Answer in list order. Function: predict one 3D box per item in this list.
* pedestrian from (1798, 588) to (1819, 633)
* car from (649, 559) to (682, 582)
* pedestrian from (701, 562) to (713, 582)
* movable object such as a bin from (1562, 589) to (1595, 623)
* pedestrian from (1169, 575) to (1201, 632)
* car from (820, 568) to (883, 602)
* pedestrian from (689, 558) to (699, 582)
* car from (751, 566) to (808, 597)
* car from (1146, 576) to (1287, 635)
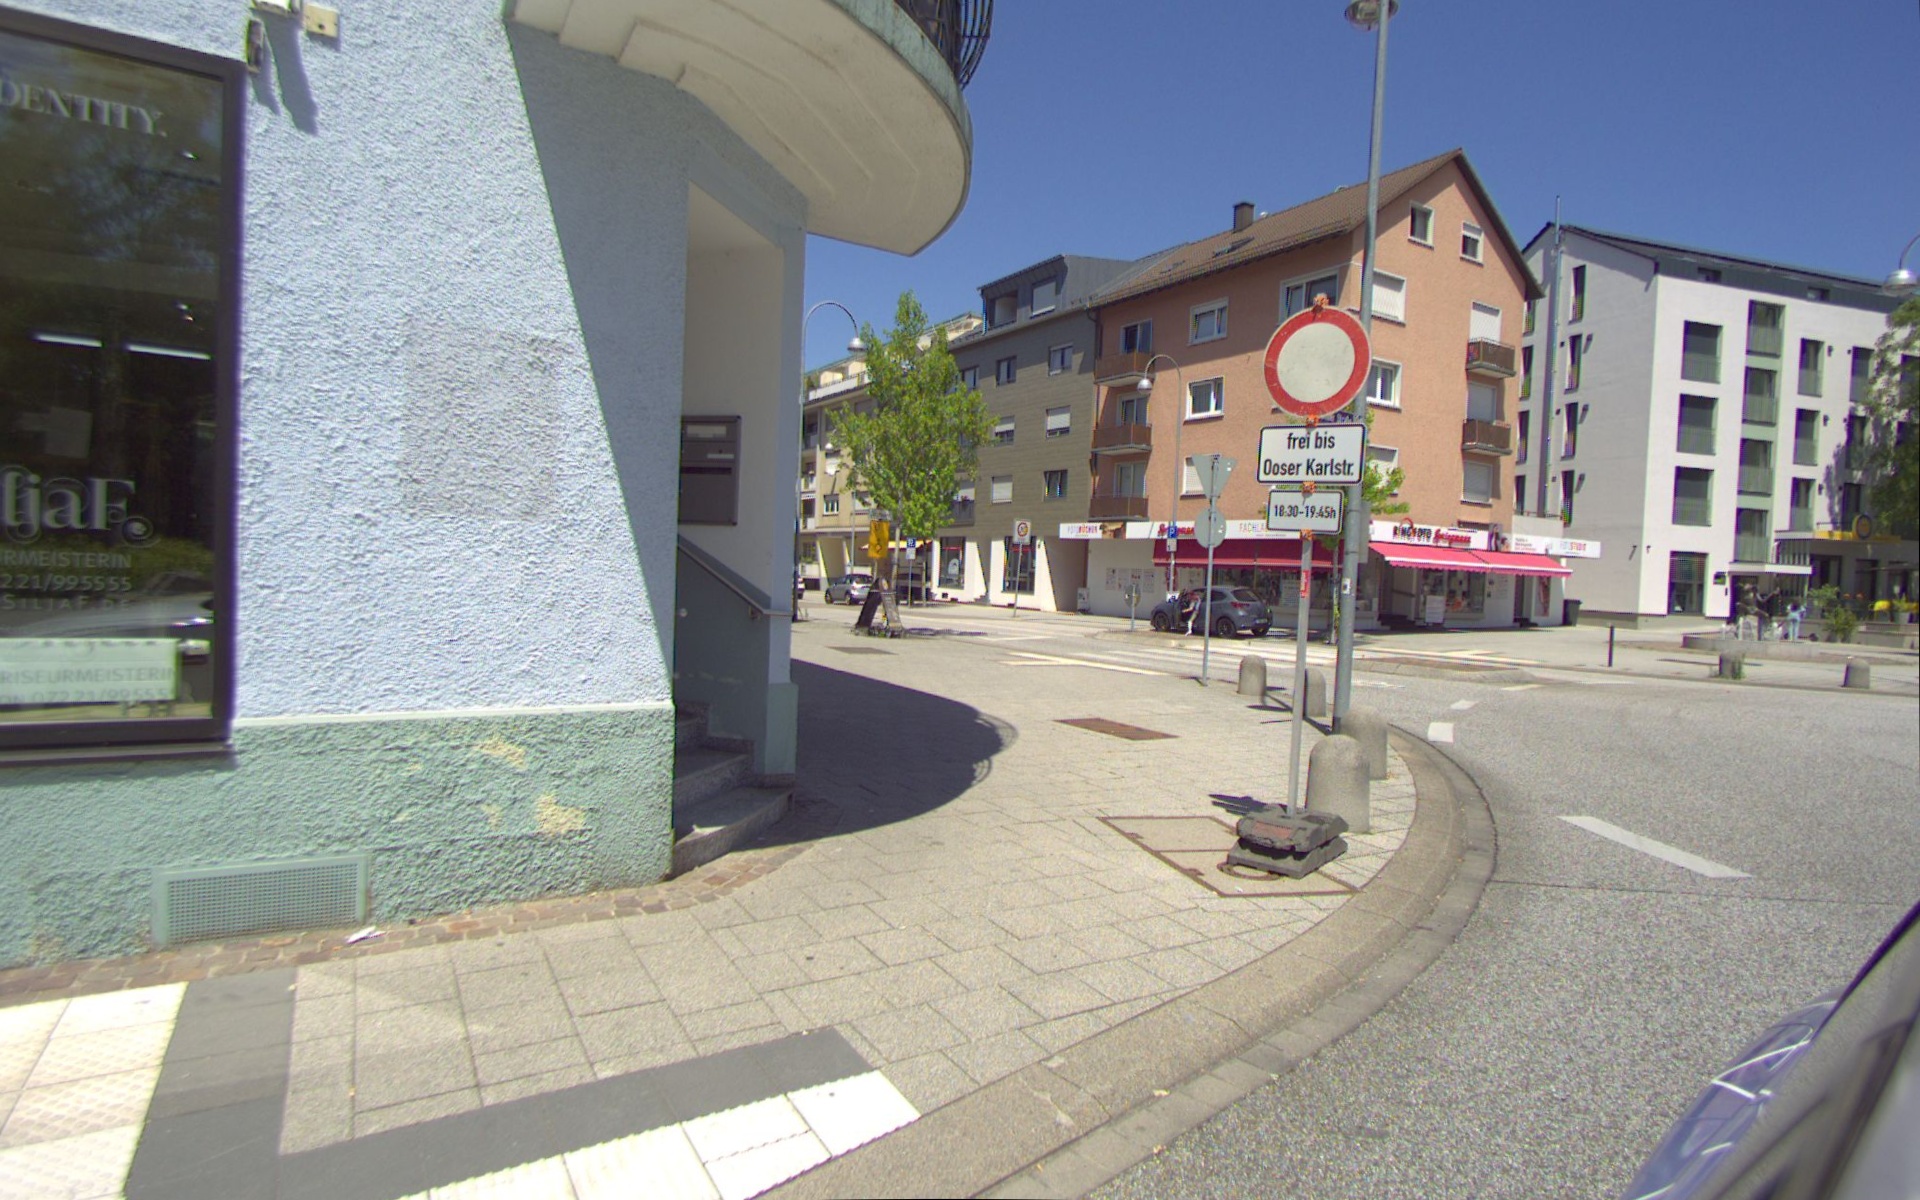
[{"bbox_3d":[31.831,0.396,37.963,0.442,1.639,0.450,1,1,-34],"label":"pedestrian"},{"bbox_3d":[-22.515,-2.256,77.275,1.613,1.682,3.374,-1,3,-31],"label":"car"},{"bbox_3d":[-19.606,-2.176,78.487,0.763,1.517,0.699,1,1,-20],"label":"pedestrian"},{"bbox_3d":[24.000,0.237,39.270,0.820,1.268,0.748,1,1,-30],"label":"movable object such as a bin"},{"bbox_3d":[6.657,0.104,29.899,0.722,1.630,0.558,1,1,-41],"label":"pedestrian"},{"bbox_3d":[-5.167,-0.749,47.982,1.594,1.492,3.552,1,2,-31],"label":"car"},{"bbox_3d":[-20.332,-2.310,77.338,0.654,1.827,0.687,2,1,-17],"label":"pedestrian"},{"bbox_3d":[-10.215,-1.092,57.051,1.667,1.612,4.304,1,2,-31],"label":"car"},{"bbox_3d":[7.628,0.106,30.450,1.641,1.504,4.062,-2,4,-35],"label":"car"}]
